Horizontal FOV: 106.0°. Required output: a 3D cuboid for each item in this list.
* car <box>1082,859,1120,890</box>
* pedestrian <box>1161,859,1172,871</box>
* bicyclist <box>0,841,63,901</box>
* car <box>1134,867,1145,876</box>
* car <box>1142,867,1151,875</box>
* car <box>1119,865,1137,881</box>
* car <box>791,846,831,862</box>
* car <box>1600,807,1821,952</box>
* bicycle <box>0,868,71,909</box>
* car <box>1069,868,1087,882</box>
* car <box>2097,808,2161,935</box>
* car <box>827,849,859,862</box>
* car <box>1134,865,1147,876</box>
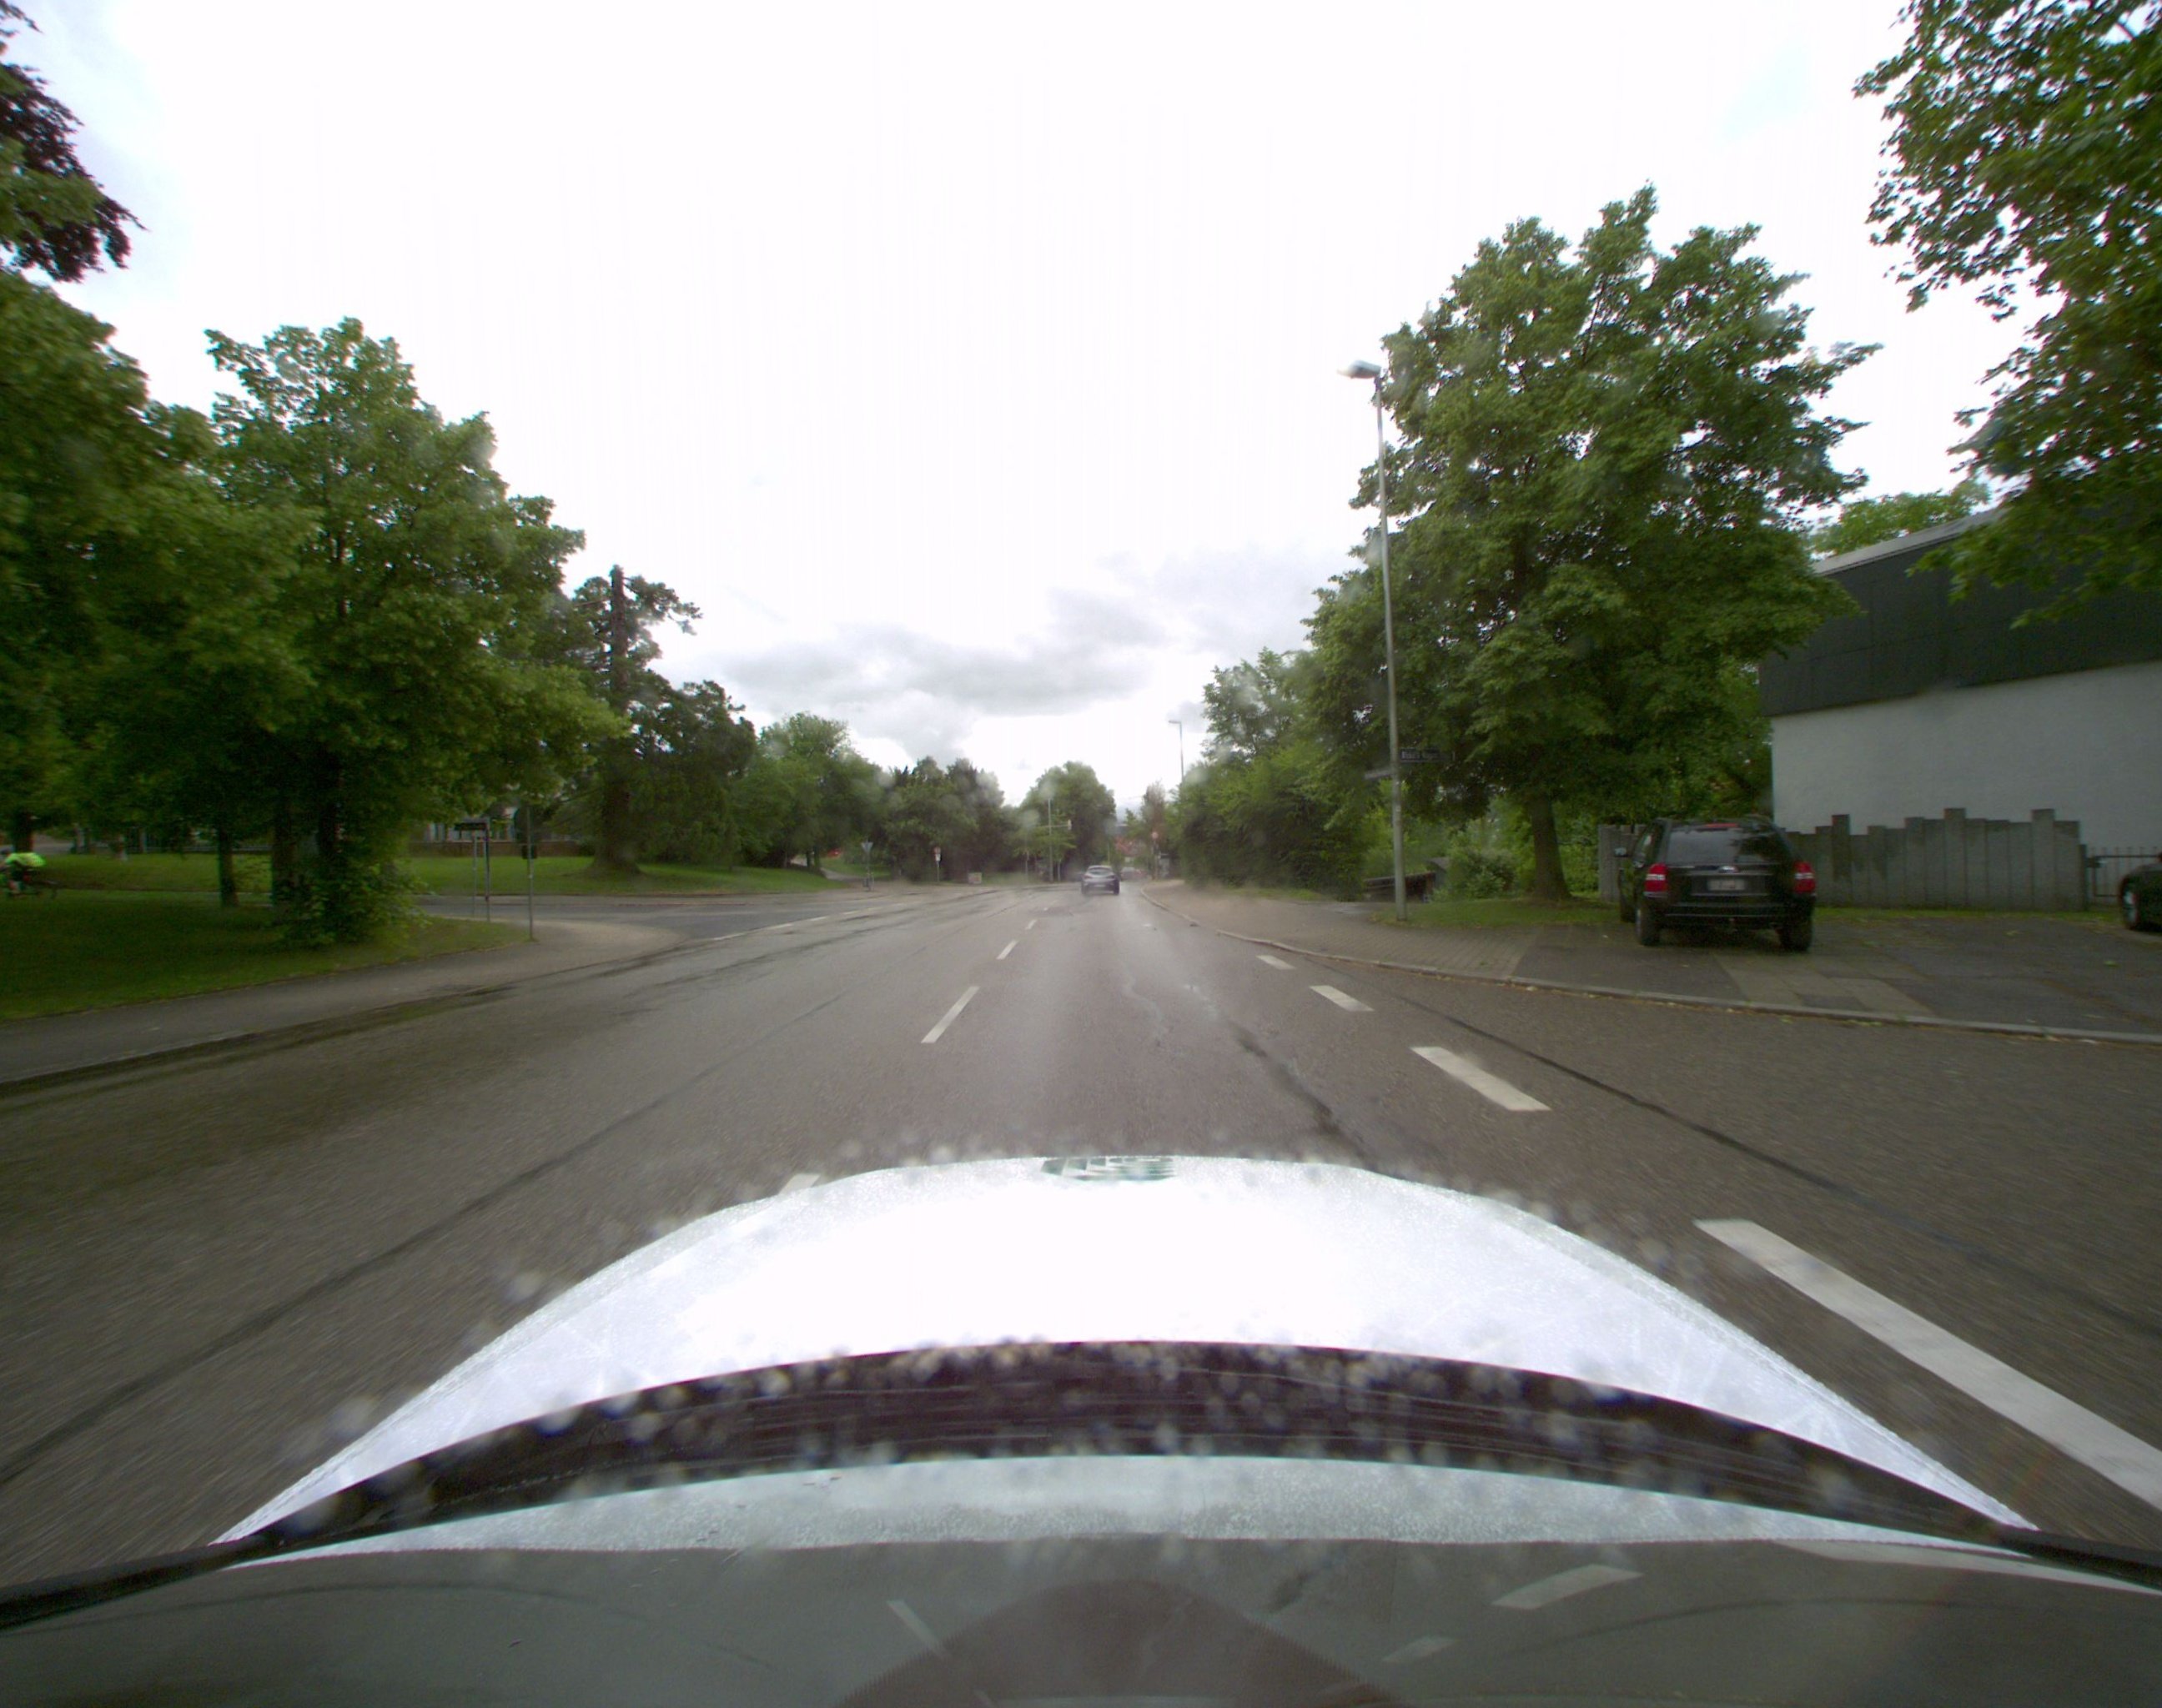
[{"bbox_3d":[1.060,1.006,41.272,1.746,1.464,4.005,0,0,4],"label":"car"},{"bbox_3d":[9.687,1.231,92.690,1.066,1.355,0.921,-3,-1,12],"label":"pedestrian"},{"bbox_3d":[-31.686,0.515,24.354,1.287,1.756,0.847,-1,-2,-24],"label":"bicyclist"},{"bbox_3d":[9.300,2.752,129.700,1.714,1.464,4.004,1,-1,4],"label":"car"},{"bbox_3d":[13.112,3.407,163.060,1.714,1.464,4.004,1,-1,4],"label":"car"},{"bbox_3d":[4.654,1.893,80.919,1.714,1.464,4.004,1,-1,4],"label":"car"},{"bbox_3d":[-27.936,-0.013,84.319,3.906,1.486,1.924,-1,-1,-18],"label":"car"},{"bbox_3d":[9.000,0.189,12.103,1.929,1.689,4.935,-1,2,30],"label":"car"},{"bbox_3d":[-31.846,1.029,24.245,2.041,1.155,0.847,-1,-2,-24],"label":"bicycle"},{"bbox_3d":[-0.300,2.479,96.351,1.652,1.306,4.090,-4,0,6],"label":"car"},{"bbox_3d":[13.490,0.234,9.081,1.734,1.469,4.595,0,3,39],"label":"car"},{"bbox_3d":[-30.320,0.205,103.717,3.906,1.486,1.924,-1,-1,-18],"label":"car"},{"bbox_3d":[8.104,2.275,111.584,1.714,1.464,4.004,1,-1,4],"label":"car"}]
